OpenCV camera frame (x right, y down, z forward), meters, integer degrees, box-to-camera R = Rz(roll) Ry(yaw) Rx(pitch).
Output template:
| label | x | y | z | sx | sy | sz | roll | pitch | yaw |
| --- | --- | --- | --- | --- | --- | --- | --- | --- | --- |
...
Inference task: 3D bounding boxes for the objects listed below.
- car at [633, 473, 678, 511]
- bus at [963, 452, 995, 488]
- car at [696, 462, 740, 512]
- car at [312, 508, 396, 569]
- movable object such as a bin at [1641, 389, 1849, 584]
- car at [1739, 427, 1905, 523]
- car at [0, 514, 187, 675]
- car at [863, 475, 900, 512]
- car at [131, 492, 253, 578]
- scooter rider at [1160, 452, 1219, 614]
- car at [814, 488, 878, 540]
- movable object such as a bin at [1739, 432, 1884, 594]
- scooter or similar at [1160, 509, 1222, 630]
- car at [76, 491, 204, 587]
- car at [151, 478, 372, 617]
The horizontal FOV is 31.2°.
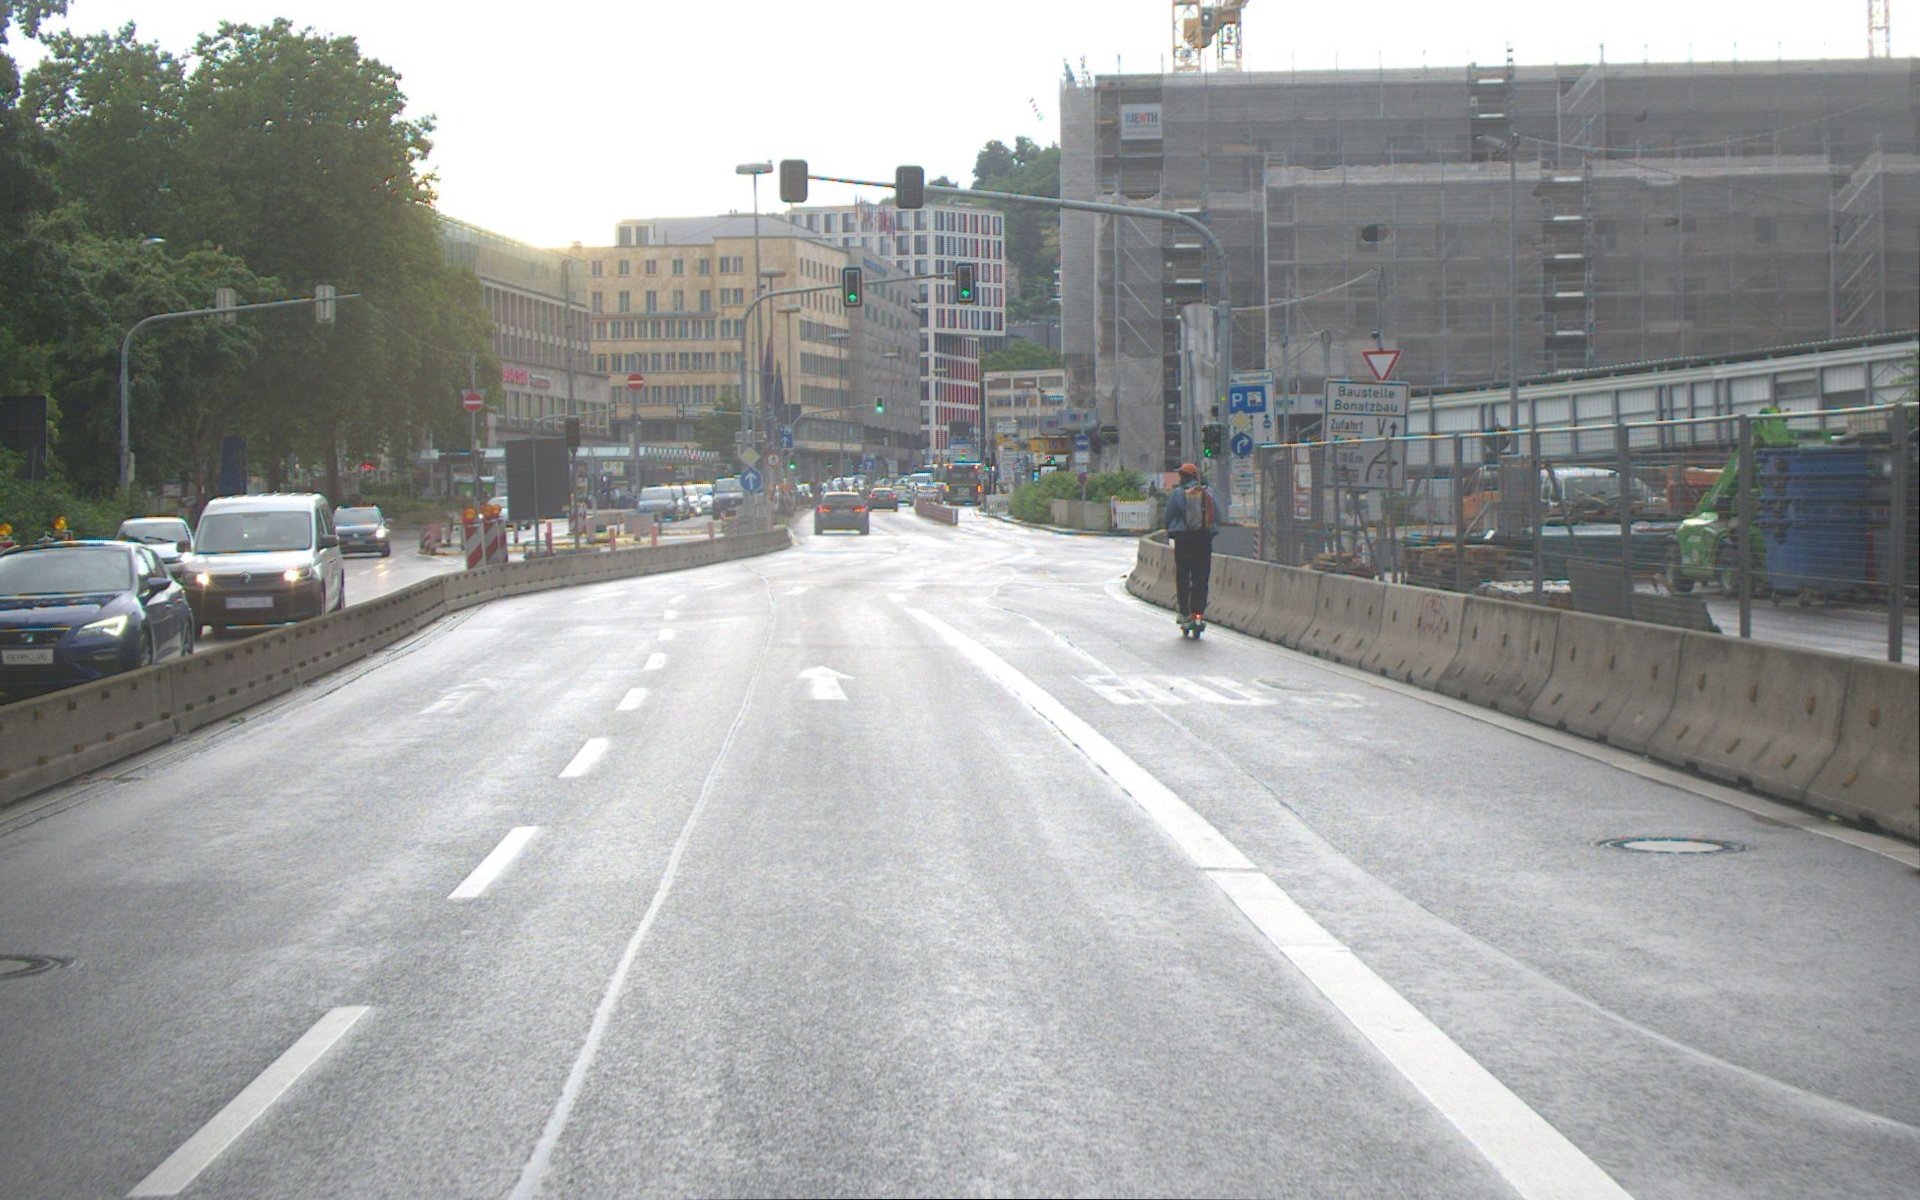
| label | x | y | z | sx | sy | sz | roll | pitch | yaw |
| --- | --- | --- | --- | --- | --- | --- | --- | --- | --- |
| car | -13.929 | -4.943 | 157.491 | 1.902 | 1.523 | 4.178 | -2 | 0 | -4 |
| bus | 1.426 | -9.468 | 251.110 | 1.994 | 2.423 | 3.999 | -3 | 0 | 4 |
| car | -11.134 | -5.174 | 157.937 | 1.902 | 2.075 | 4.178 | -2 | 0 | -4 |
| car | -17.167 | -1.735 | 97.548 | 1.993 | 1.536 | 4.581 | -2 | 0 | -6 |
| movable object such as a bin | 11.708 | -1.741 | 51.545 | 1.806 | 2.799 | 3.868 | -1 | 3 | -7 |
| car | 22.035 | -3.189 | 88.109 | 2.044 | 2.305 | 5.607 | -2 | 2 | -9 |
| car | -8.201 | -0.066 | 31.477 | 1.711 | 1.334 | 4.063 | -3 | 1 | -7 |
| car | -4.647 | -6.293 | 203.648 | 1.993 | 2.007 | 4.000 | -3 | 0 | 0 |
| car | -15.327 | -1.273 | 68.756 | 1.868 | 1.536 | 4.091 | -2 | 0 | -6 |
| scooter rider | 2.563 | -0.752 | 38.395 | 0.597 | 1.779 | 0.997 | 0 | 2 | 1 |
| car | -3.839 | -2.871 | 115.338 | 1.902 | 1.523 | 4.178 | -2 | 0 | -4 |
| movable object such as a bin | 11.800 | -1.227 | 47.666 | 1.456 | 2.195 | 1.265 | -2 | 3 | -25 |
| scooter or similar | 2.572 | -0.360 | 38.424 | 0.597 | 1.314 | 1.667 | 0 | 2 | 1 |
| car | -16.006 | -1.161 | 67.286 | 1.875 | 1.700 | 4.001 | -2 | 0 | -6 |
| car | -9.138 | -0.701 | 45.381 | 2.030 | 1.647 | 4.912 | -3 | 1 | -2 |
